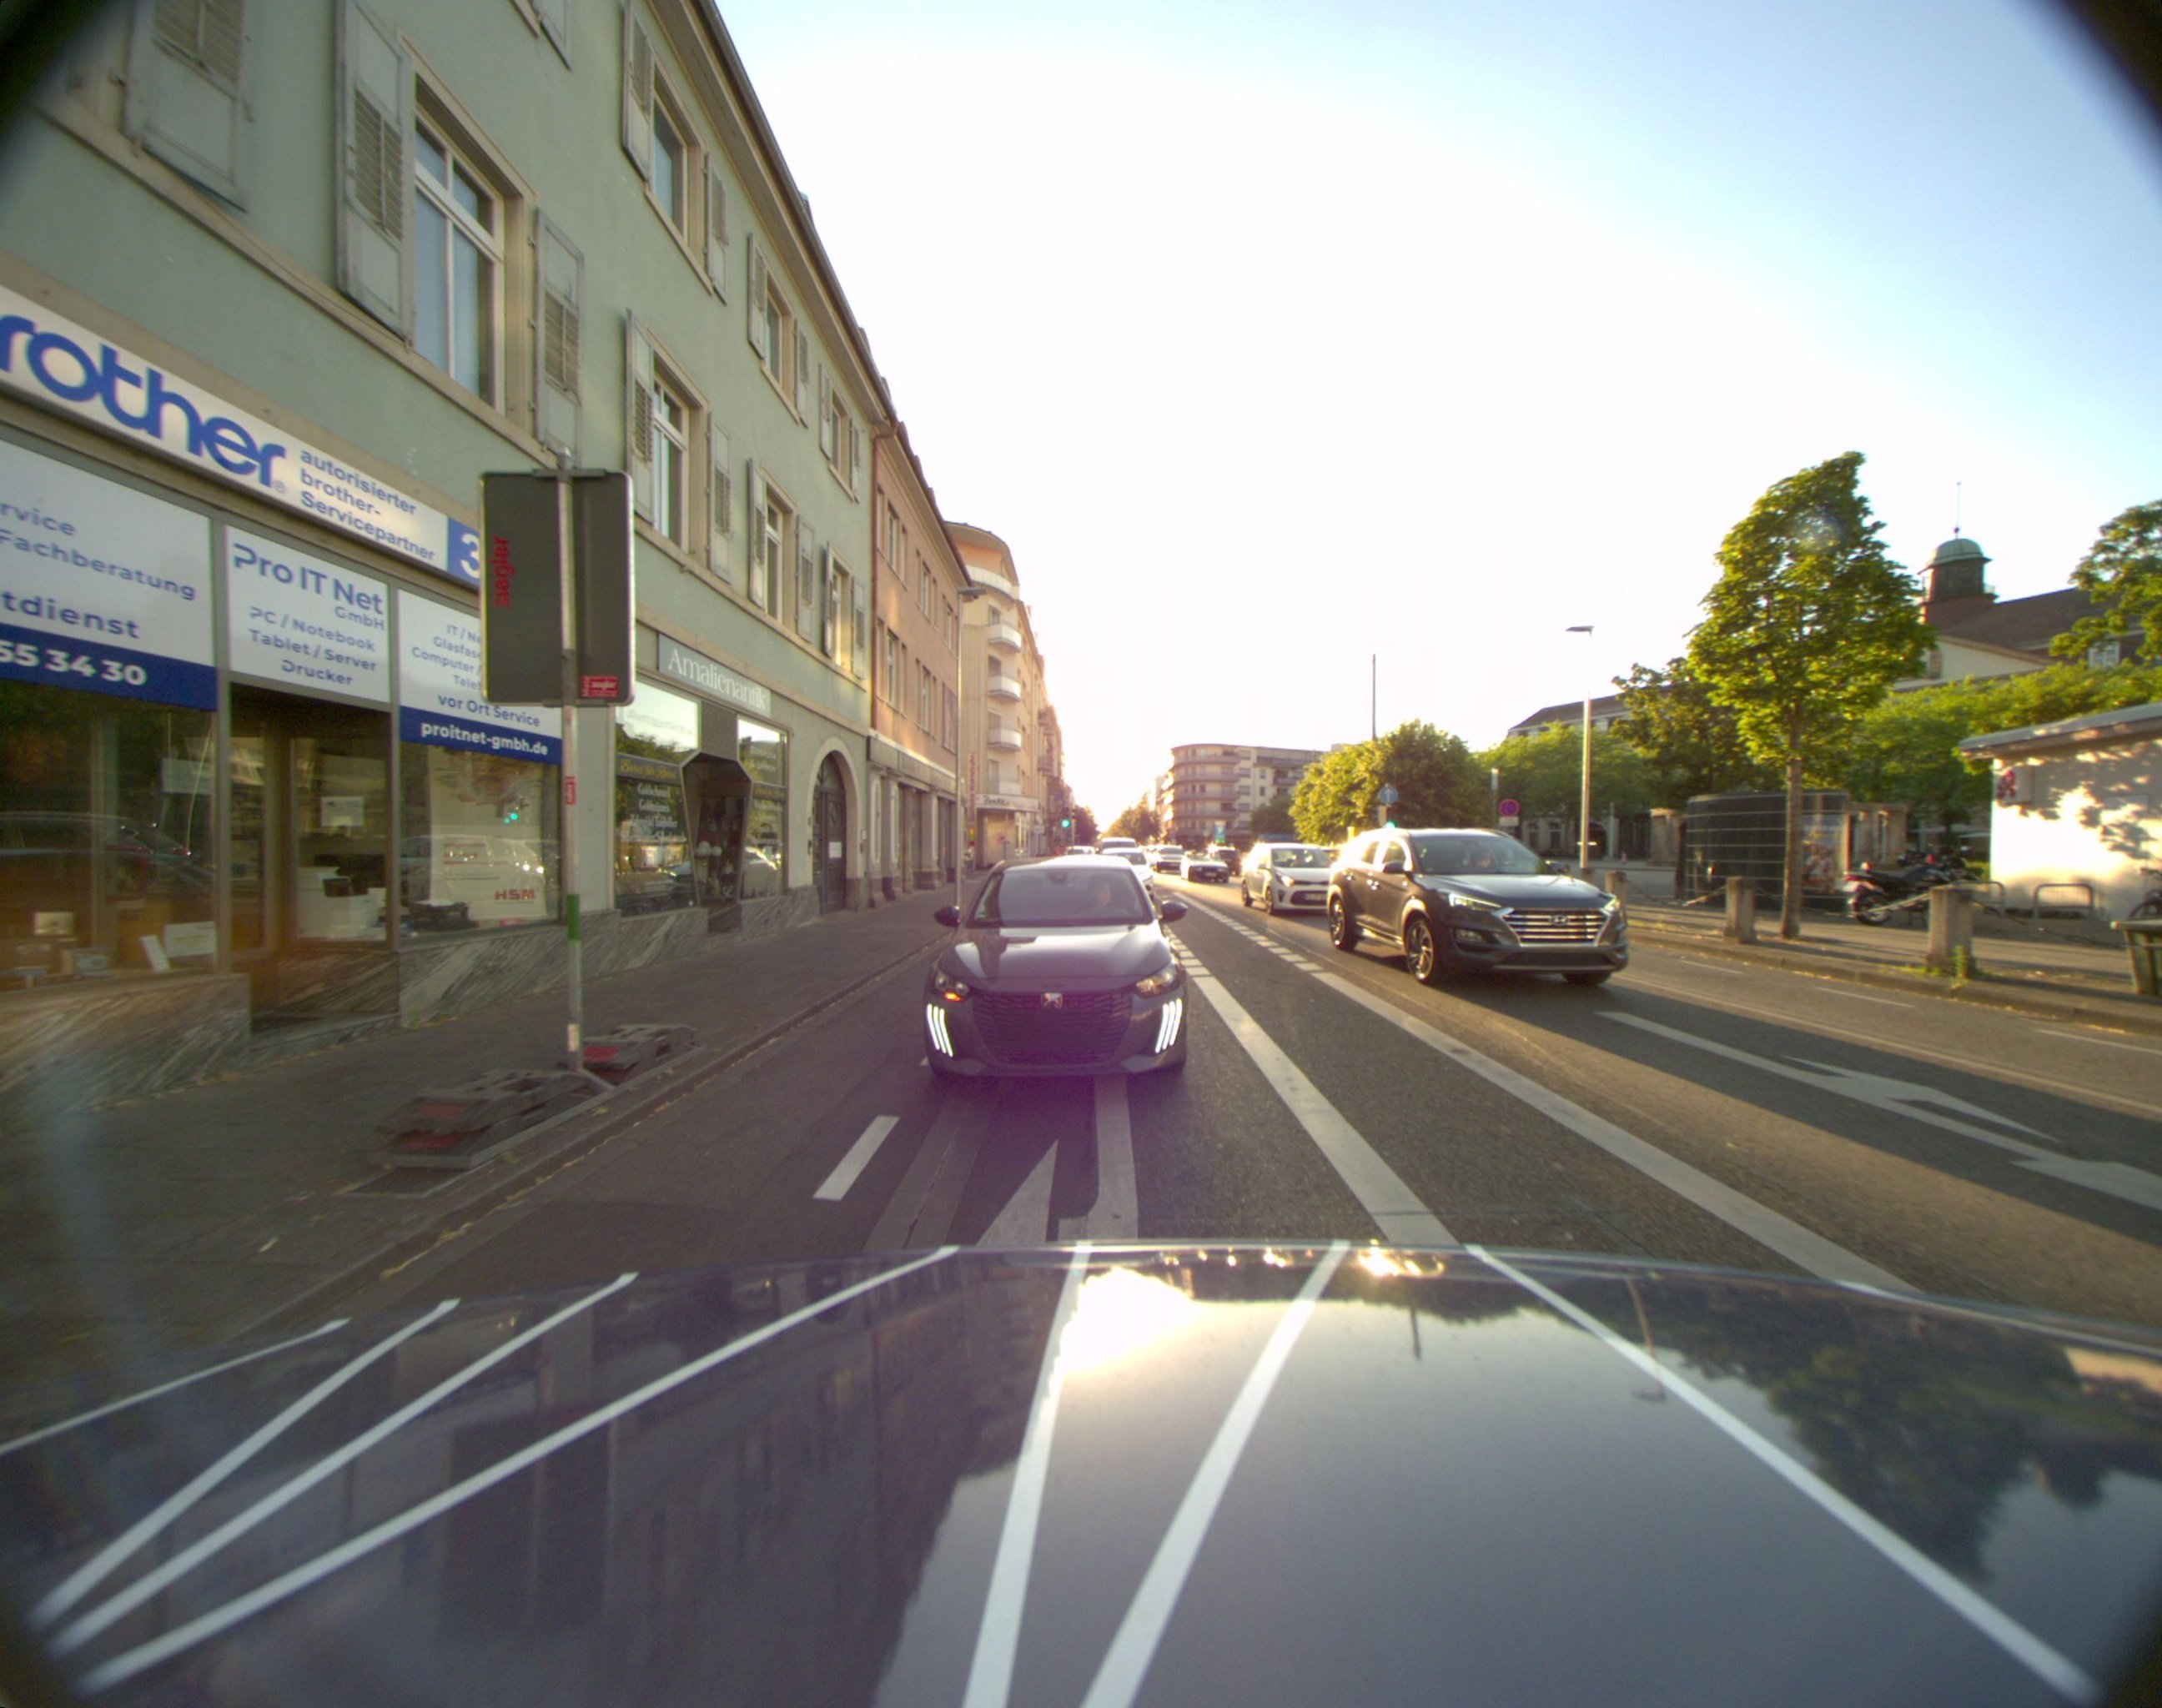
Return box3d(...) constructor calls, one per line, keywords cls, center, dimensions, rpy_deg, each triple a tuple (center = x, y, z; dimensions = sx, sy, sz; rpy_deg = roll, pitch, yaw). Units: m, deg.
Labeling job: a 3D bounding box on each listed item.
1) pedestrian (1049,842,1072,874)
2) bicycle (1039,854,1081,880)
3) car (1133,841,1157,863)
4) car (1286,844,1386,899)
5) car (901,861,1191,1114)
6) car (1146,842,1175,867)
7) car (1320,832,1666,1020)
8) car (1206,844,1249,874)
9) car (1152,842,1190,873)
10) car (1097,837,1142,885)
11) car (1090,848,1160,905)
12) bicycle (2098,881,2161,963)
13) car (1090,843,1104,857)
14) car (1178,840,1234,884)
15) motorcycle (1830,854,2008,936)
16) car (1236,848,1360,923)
box3d(cls="pedestrian", center=(-0.881, 0.164, 32.444), dimensions=(0.858, 1.343, 0.563), rpy_deg=(-1, 1, 12))
box3d(cls="bicycle", center=(-0.903, 0.553, 32.456), dimensions=(1.701, 1.051, 0.563), rpy_deg=(1, 1, 12))
box3d(cls="car", center=(5.351, -0.155, 63.607), dimensions=(1.879, 1.762, 4.000), rpy_deg=(0, 1, 3))
box3d(cls="car", center=(8.075, 0.494, 24.430), dimensions=(1.880, 1.594, 3.999), rpy_deg=(0, 1, 0))
box3d(cls="car", center=(-0.077, 0.821, 6.529), dimensions=(1.750, 1.434, 3.906), rpy_deg=(0, 1, 4))
box3d(cls="car", center=(5.807, 0.043, 55.650), dimensions=(1.879, 1.762, 4.000), rpy_deg=(0, 1, 3))
box3d(cls="car", center=(4.371, 0.622, 8.969), dimensions=(1.827, 1.688, 4.259), rpy_deg=(0, 1, 1))
box3d(cls="car", center=(8.858, 0.276, 46.282), dimensions=(1.827, 1.688, 3.985), rpy_deg=(3, 1, 1))
box3d(cls="car", center=(5.251, 0.170, 44.941), dimensions=(1.827, 1.731, 3.985), rpy_deg=(2, 1, 2))
box3d(cls="car", center=(1.654, 0.263, 33.737), dimensions=(1.827, 1.918, 3.985), rpy_deg=(2, 1, 2))
box3d(cls="car", center=(1.257, 0.595, 22.084), dimensions=(1.827, 1.463, 3.985), rpy_deg=(-1, 1, 3))
box3d(cls="bicycle", center=(15.323, 0.942, 10.558), dimensions=(1.810, 1.096, 0.396), rpy_deg=(0, 1, 0))
box3d(cls="car", center=(2.299, -0.618, 110.366), dimensions=(1.998, 2.002, 4.000), rpy_deg=(0, 1, 1))
box3d(cls="car", center=(5.273, 0.294, 32.529), dimensions=(1.827, 1.731, 3.985), rpy_deg=(2, 1, 2))
box3d(cls="motorcycle", center=(15.130, 0.725, 13.764), dimensions=(2.398, 1.438, 0.700), rpy_deg=(0, 1, 0))
box3d(cls="car", center=(4.686, 0.604, 16.988), dimensions=(1.718, 1.463, 3.985), rpy_deg=(0, 1, 2))
